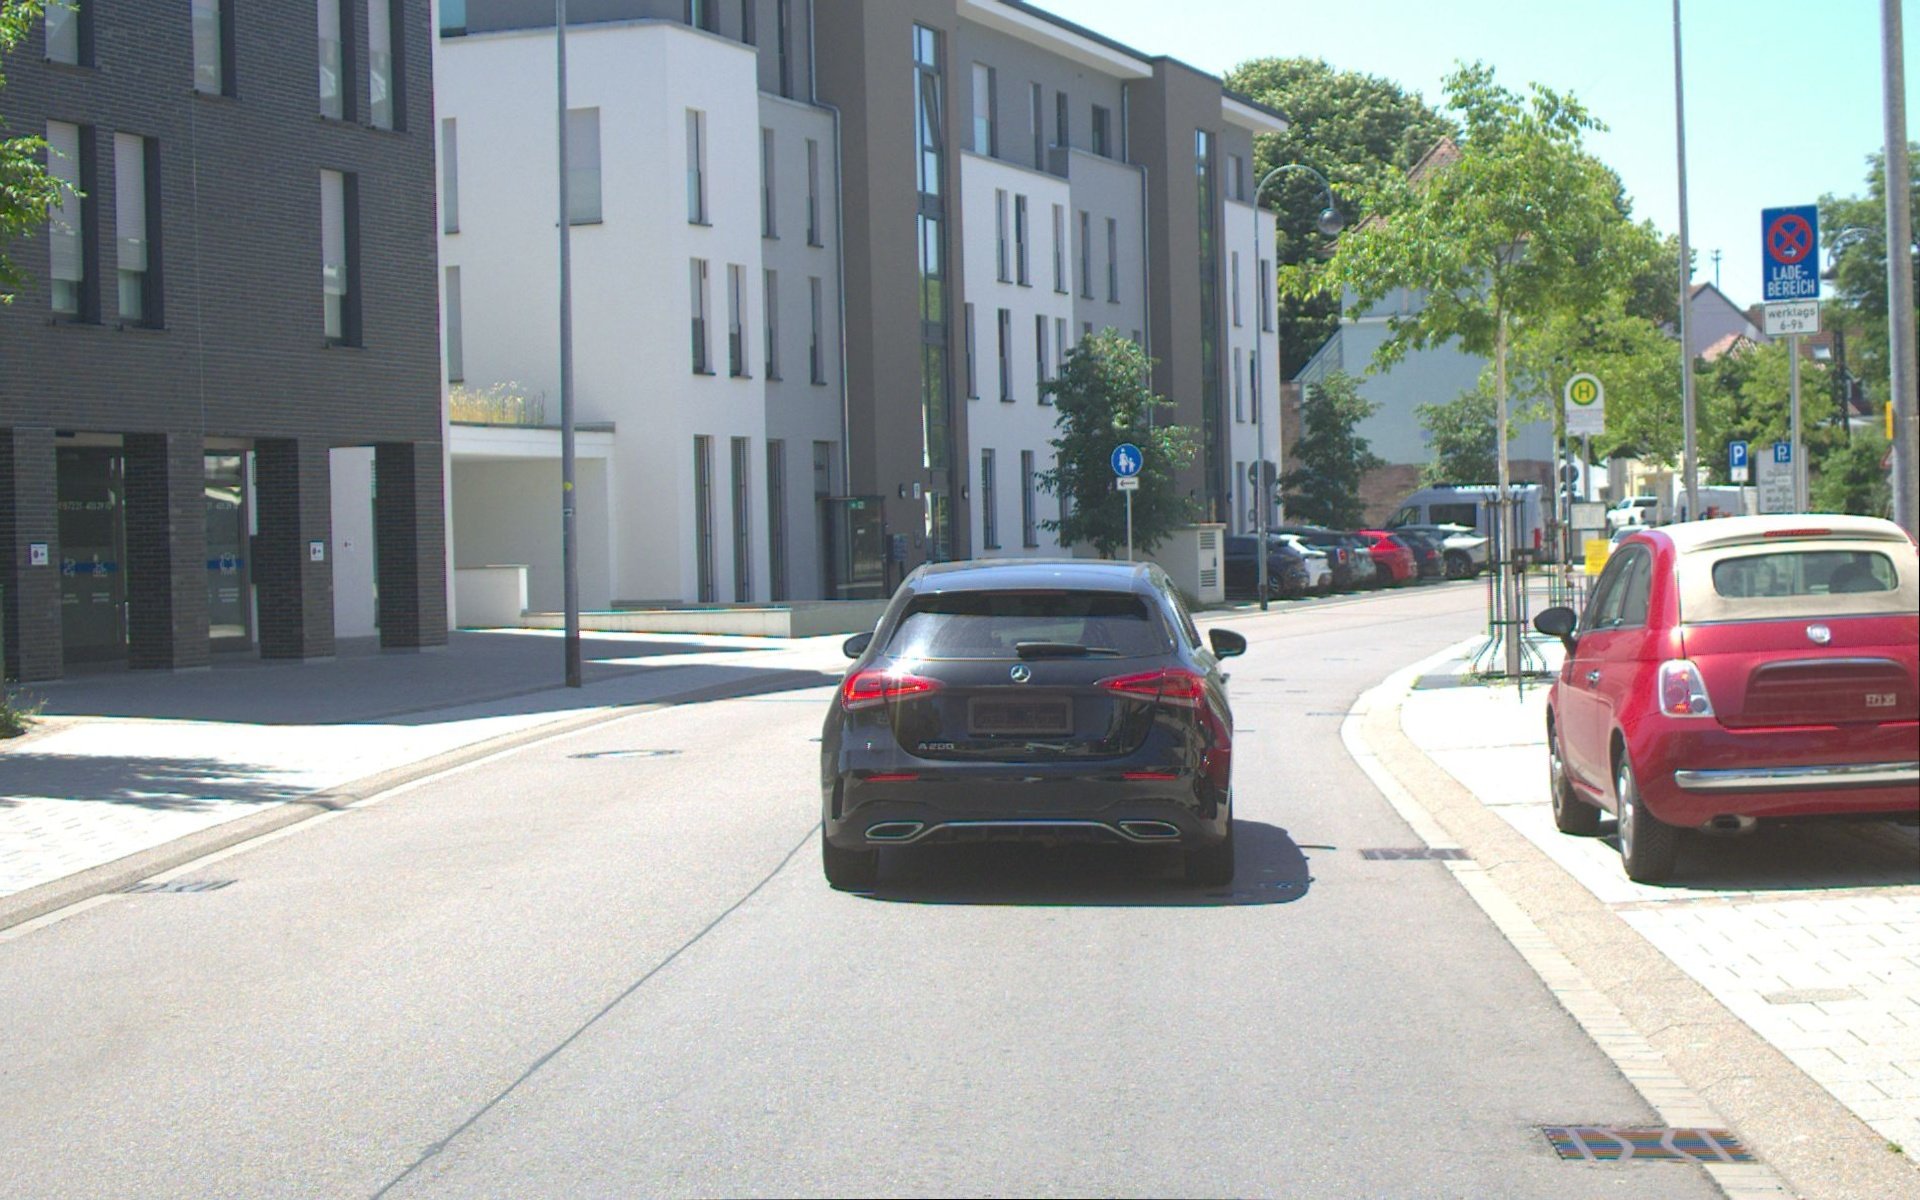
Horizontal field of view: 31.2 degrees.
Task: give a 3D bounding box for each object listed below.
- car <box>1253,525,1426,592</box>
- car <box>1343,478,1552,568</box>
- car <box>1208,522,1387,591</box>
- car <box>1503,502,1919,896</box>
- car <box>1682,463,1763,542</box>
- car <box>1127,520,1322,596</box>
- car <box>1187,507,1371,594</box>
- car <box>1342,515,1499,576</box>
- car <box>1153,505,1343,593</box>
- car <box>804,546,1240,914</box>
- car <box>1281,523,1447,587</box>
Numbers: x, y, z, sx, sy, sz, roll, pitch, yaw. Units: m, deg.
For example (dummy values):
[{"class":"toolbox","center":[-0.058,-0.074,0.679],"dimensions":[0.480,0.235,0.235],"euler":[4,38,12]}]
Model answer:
[{"class":"car","center":[9.691,-1.071,87.818],"dimensions":[3.991,1.656,1.998],"euler":[0,1,22]},{"class":"car","center":[14.430,-2.265,101.774],"dimensions":[5.648,2.570,2.512],"euler":[0,1,23]},{"class":"car","center":[8.375,-1.073,85.257],"dimensions":[3.991,1.656,1.998],"euler":[0,1,22]},{"class":"car","center":[3.534,0.359,15.491],"dimensions":[1.605,1.525,3.492],"euler":[-3,1,1]},{"class":"car","center":[19.984,-2.539,90.241],"dimensions":[1.994,2.007,3.998],"euler":[-1,1,12]},{"class":"car","center":[6.031,-0.960,78.199],"dimensions":[3.991,1.656,1.998],"euler":[0,1,22]},{"class":"car","center":[7.684,-1.188,82.775],"dimensions":[3.992,2.007,1.998],"euler":[0,1,23]},{"class":"car","center":[12.971,-1.521,96.820],"dimensions":[3.991,1.656,1.998],"euler":[0,1,22]},{"class":"car","center":[6.760,-1.196,80.584],"dimensions":[3.992,2.007,1.998],"euler":[0,1,23]},{"class":"car","center":[0.395,0.506,16.362],"dimensions":[1.763,1.452,4.438],"euler":[-1,1,4]},{"class":"car","center":[10.774,-1.202,91.564],"dimensions":[3.991,1.656,1.998],"euler":[0,1,22]}]
